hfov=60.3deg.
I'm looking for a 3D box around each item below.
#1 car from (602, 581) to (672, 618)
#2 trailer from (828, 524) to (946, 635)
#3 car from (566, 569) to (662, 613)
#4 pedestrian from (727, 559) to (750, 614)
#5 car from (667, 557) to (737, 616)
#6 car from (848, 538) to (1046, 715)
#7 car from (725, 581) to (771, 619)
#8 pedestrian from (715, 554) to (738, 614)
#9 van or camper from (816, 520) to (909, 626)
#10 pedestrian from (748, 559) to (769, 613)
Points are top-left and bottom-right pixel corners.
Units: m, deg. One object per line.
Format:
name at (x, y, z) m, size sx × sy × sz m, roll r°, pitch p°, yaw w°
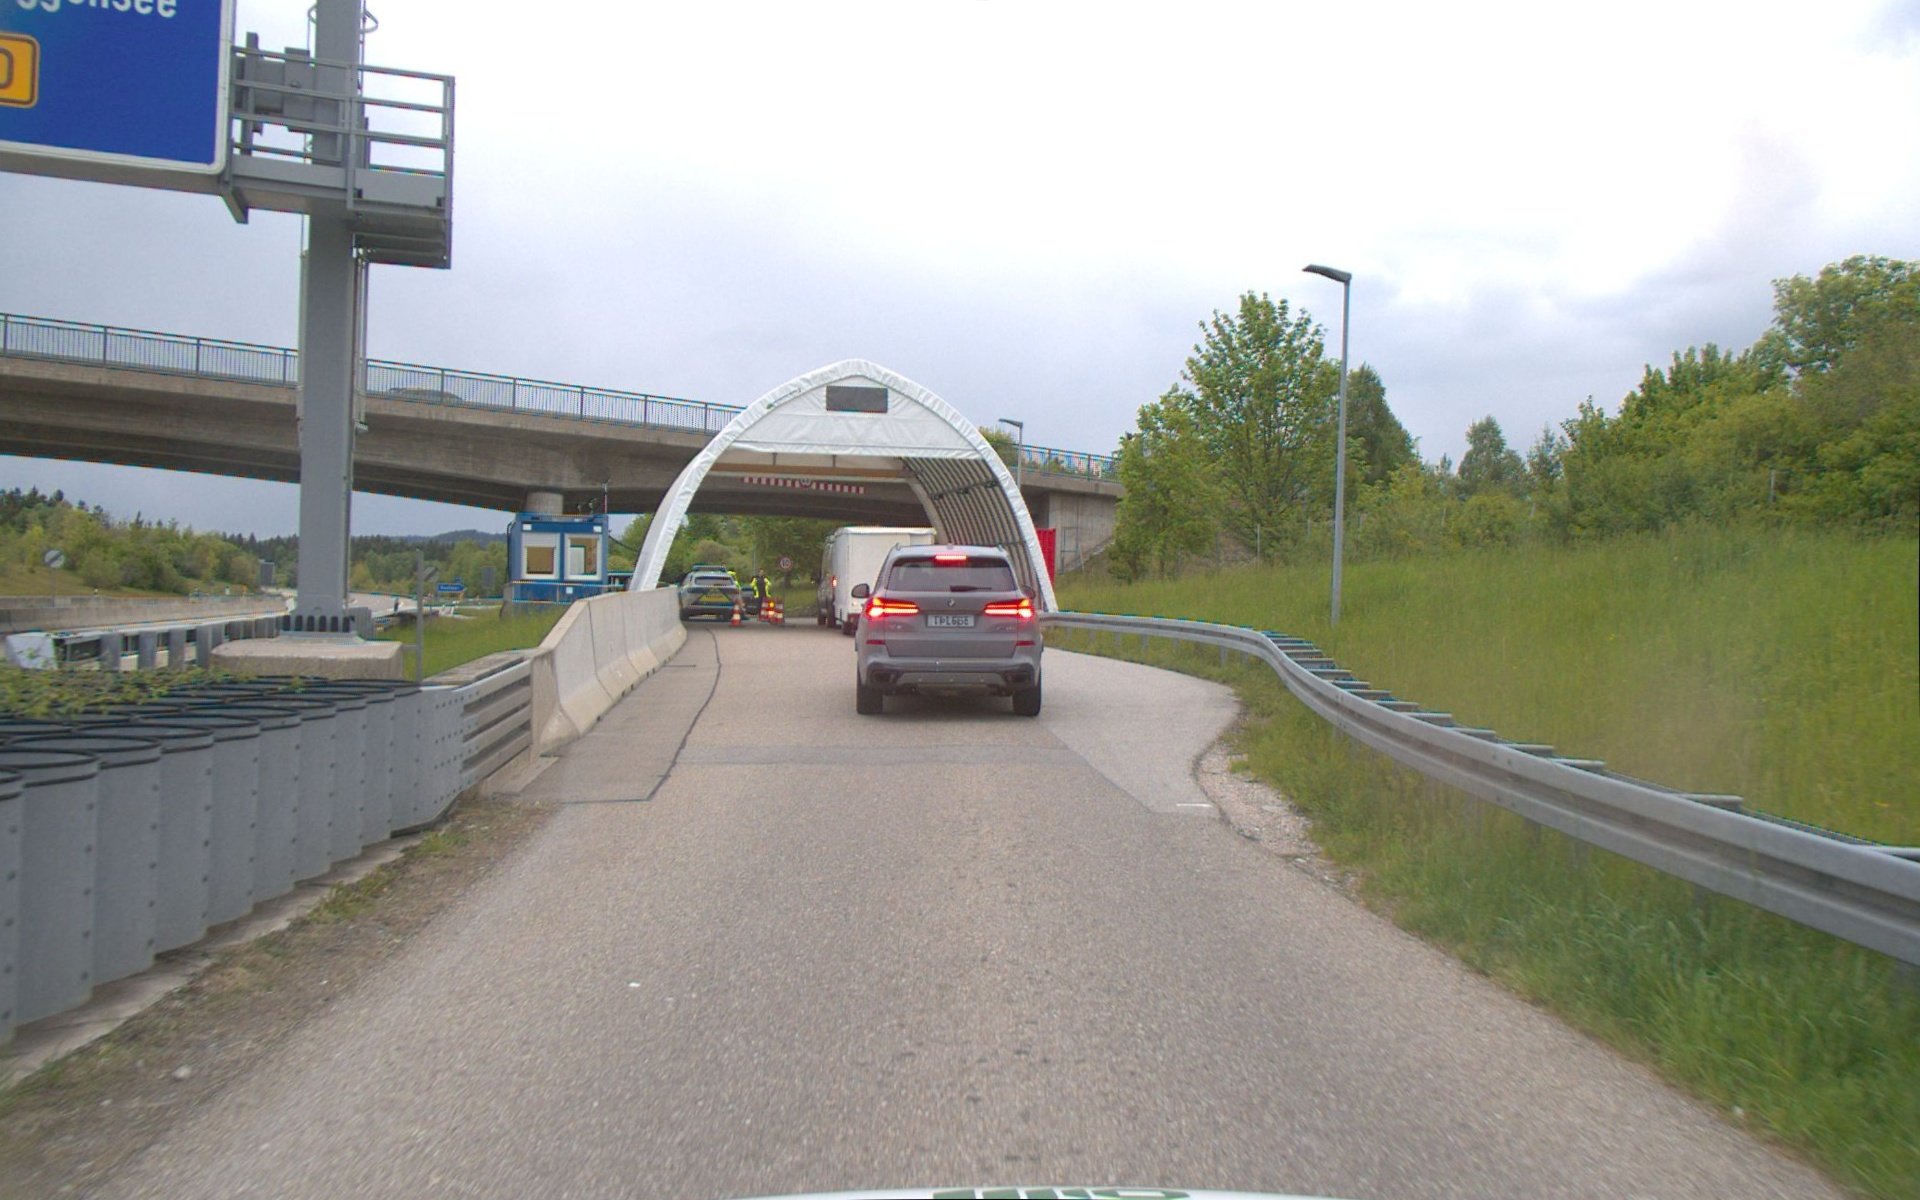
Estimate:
car at (-13.145, -0.024, 67.179) m, size 1.504 × 1.467 × 3.271 m, roll -1°, pitch 0°, yaw -37°
trailer at (-1.902, -0.441, 40.485) m, size 2.236 × 2.473 × 6.804 m, roll 0°, pitch 0°, yaw -8°
car at (-15.532, -0.410, 74.362) m, size 3.903 × 1.886 × 1.710 m, roll -1°, pitch 0°, yaw 3°
pedestrian at (-7.311, -0.444, 54.547) m, size 0.707 × 1.806 × 0.688 m, roll 0°, pitch 0°, yaw -12°
car at (-8.124, -0.426, 51.915) m, size 1.959 × 1.803 × 3.754 m, roll 0°, pitch 0°, yaw -12°
car at (-0.069, 0.254, 18.324) m, size 1.952 × 1.749 × 4.001 m, roll 0°, pitch 0°, yaw 2°
car at (-10.828, -0.004, 84.256) m, size 1.677 × 1.886 × 3.981 m, roll -1°, pitch 1°, yaw -17°
pedestrian at (-7.850, -0.532, 55.553) m, size 0.707 × 1.979 × 0.688 m, roll 0°, pitch 0°, yaw -12°
van or camper at (-2.828, -0.701, 46.759) m, size 2.117 × 2.812 × 5.859 m, roll 0°, pitch 0°, yaw -9°
pedestrian at (-6.798, -0.459, 55.838) m, size 0.637 × 1.806 × 0.604 m, roll 0°, pitch 0°, yaw -14°
